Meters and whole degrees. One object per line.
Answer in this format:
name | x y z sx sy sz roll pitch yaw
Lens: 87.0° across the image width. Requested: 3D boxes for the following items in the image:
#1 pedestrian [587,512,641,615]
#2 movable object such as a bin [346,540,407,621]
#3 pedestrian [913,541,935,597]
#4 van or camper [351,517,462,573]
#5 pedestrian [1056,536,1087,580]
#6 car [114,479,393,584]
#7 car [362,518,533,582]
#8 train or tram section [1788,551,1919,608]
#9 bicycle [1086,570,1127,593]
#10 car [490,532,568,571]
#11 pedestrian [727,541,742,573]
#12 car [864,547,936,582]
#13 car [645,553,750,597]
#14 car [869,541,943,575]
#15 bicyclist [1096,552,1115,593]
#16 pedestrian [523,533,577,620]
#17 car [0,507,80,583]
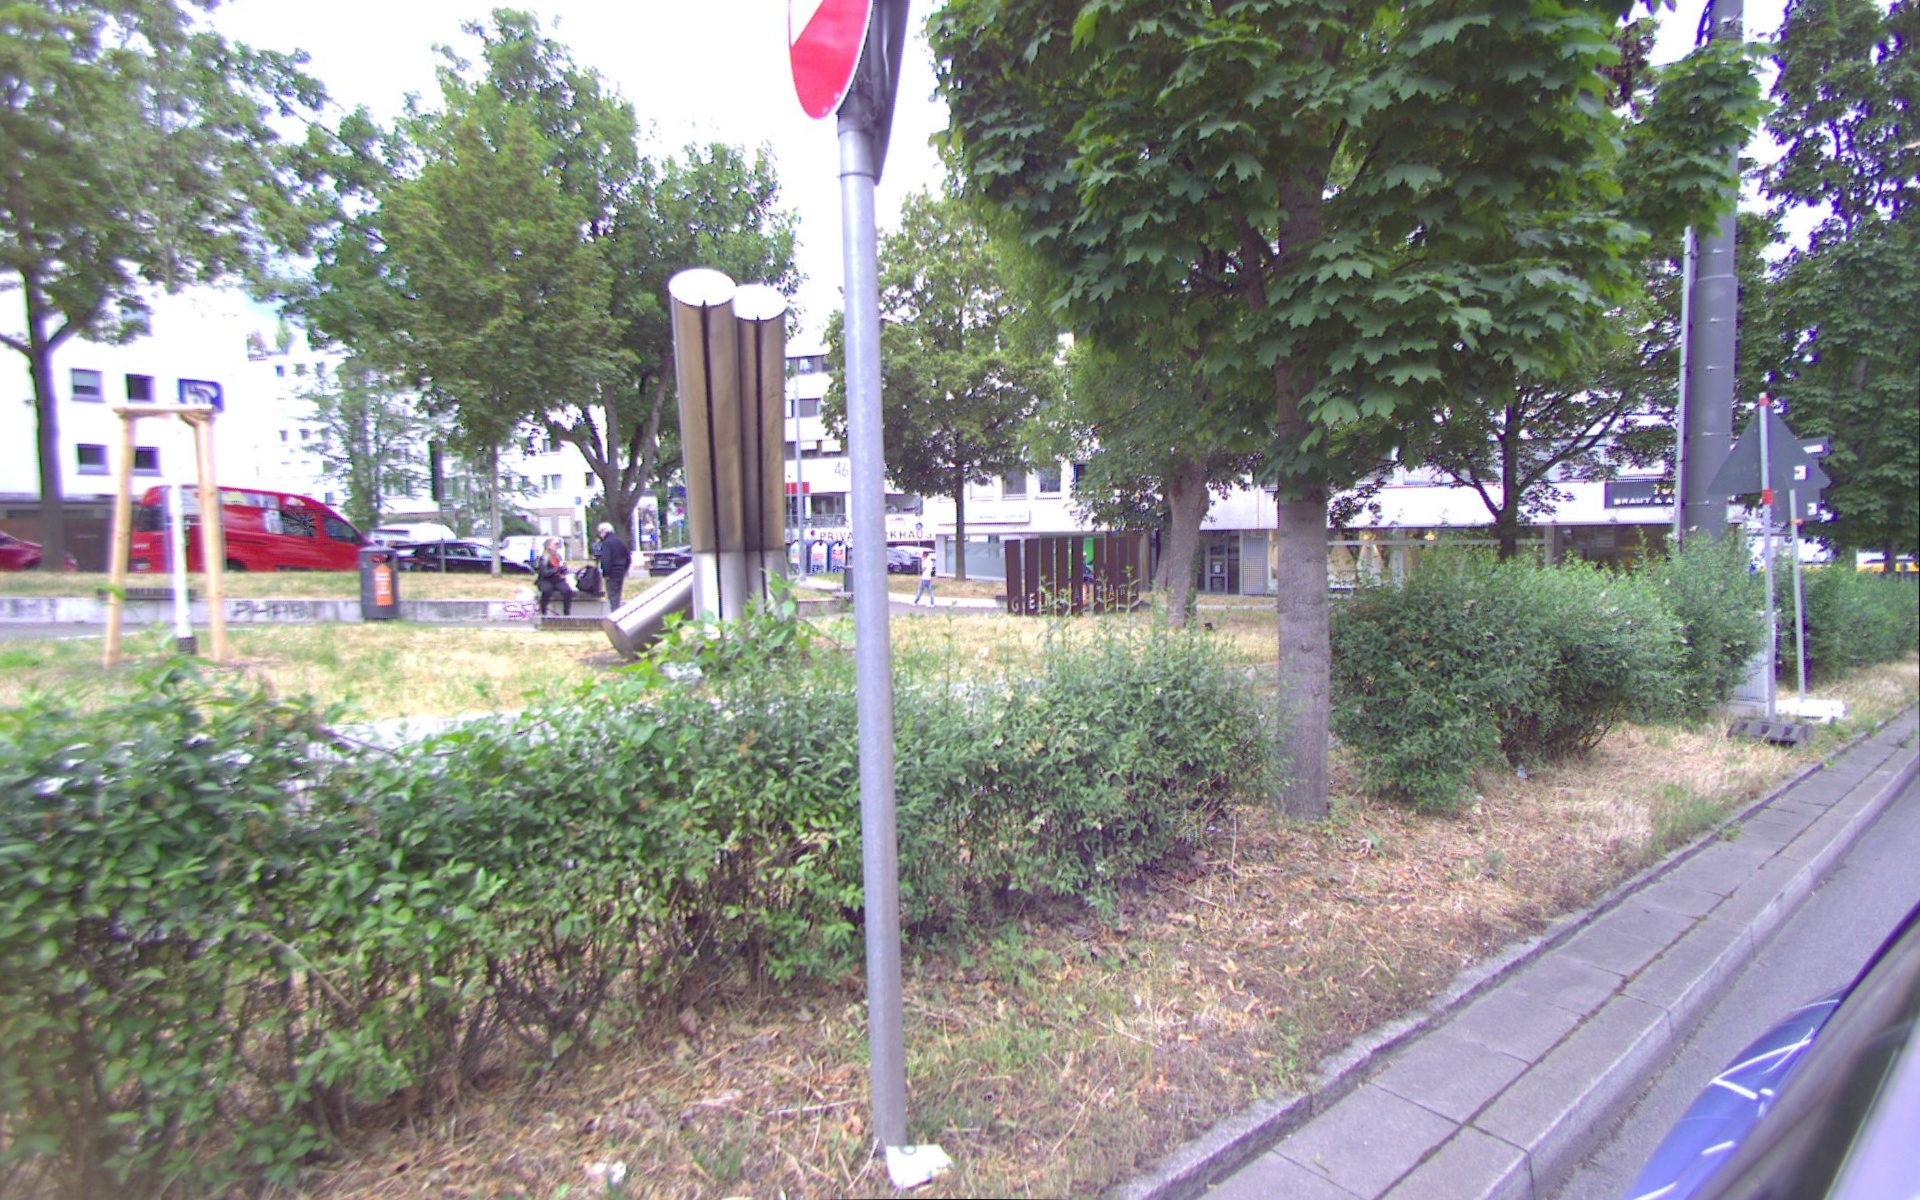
pedestrian | -5.418 -0.573 15.830 0.609 1.561 0.549 0 2 -43
movable object such as a bin | -8.202 -0.273 14.227 0.599 1.095 0.670 -3 1 -40
pedestrian | -1.010 -0.868 28.500 0.529 1.541 0.574 1 1 -9
van or camper | -25.737 -2.502 46.987 5.403 2.258 2.273 -2 1 35
pedestrian | 4.452 -1.683 40.487 0.876 1.722 0.865 2 2 38
car | -15.865 -1.444 23.101 2.003 2.053 4.950 -2 1 20
car | -13.990 -1.314 27.882 1.731 1.527 4.122 -2 0 20
train or tram section | 61.908 -1.446 67.763 2.842 3.484 14.201 -3 1 8
bicycle | 5.875 -0.749 40.627 1.534 0.869 0.513 2 2 38
car | -23.745 -2.638 55.721 4.437 1.909 1.974 -2 1 37
pedestrian | -12.141 -2.297 54.489 0.567 1.688 0.498 2 2 21
car | -3.061 -1.831 51.885 3.348 1.669 1.588 2 2 22
car | -9.966 -0.999 38.772 1.733 1.516 4.120 -2 2 23
car | -2.899 -2.246 54.362 3.583 1.694 1.588 2 2 22
bicyclist | 5.849 -1.115 40.639 0.593 1.622 0.506 2 2 38
pedestrian | -6.407 -0.372 15.822 0.609 1.317 0.549 0 2 -43
car | -17.874 -0.940 17.362 1.600 1.295 3.896 -2 1 21
